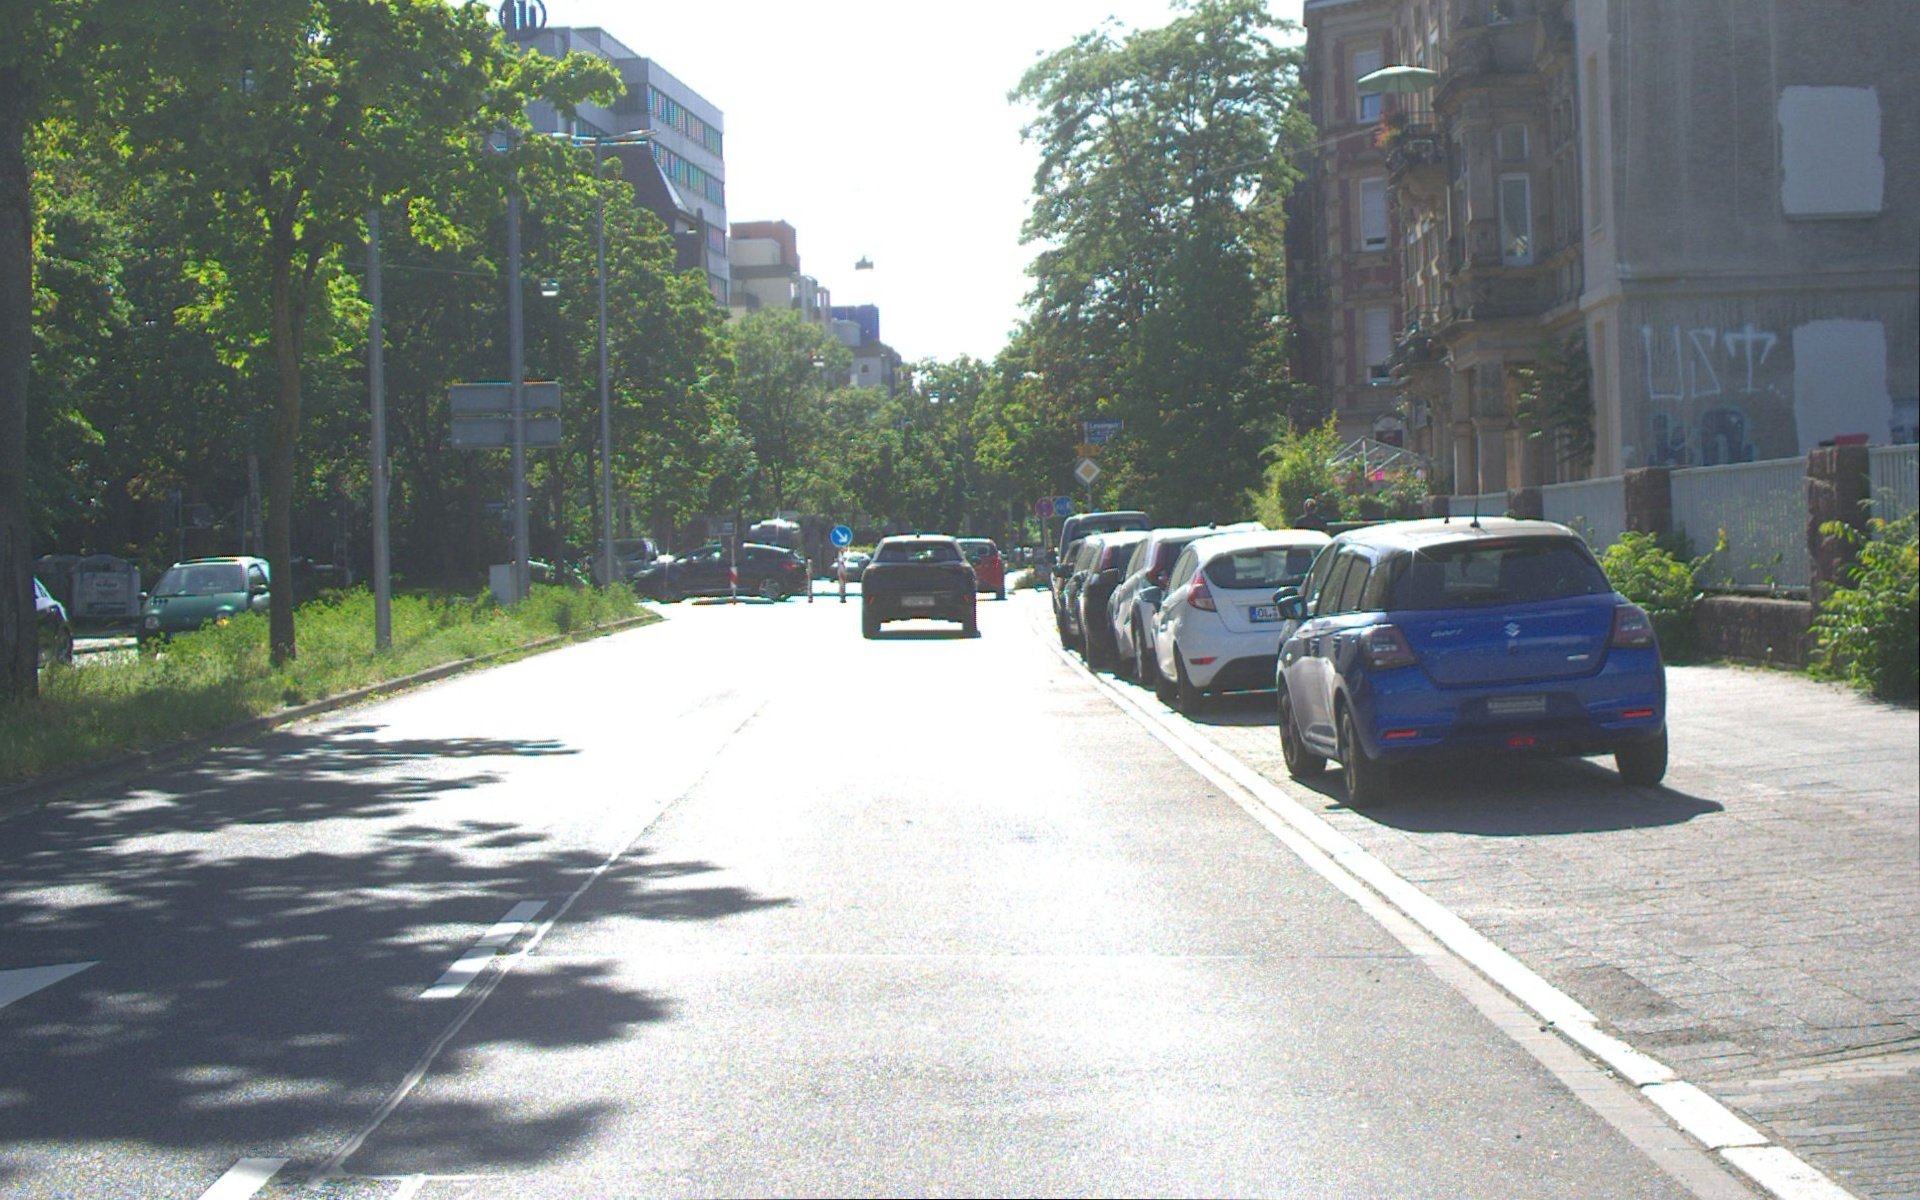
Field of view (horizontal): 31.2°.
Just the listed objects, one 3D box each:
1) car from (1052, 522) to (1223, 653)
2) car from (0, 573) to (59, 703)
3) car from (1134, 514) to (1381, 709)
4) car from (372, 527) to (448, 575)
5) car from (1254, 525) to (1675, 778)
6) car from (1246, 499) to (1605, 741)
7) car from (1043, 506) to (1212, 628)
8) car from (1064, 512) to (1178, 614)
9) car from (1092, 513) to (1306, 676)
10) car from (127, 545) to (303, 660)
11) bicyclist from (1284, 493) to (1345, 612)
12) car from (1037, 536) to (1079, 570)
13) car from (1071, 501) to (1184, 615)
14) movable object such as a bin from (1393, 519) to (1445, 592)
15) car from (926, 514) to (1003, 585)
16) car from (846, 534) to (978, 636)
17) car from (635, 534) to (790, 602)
[{"bbox_3d":[2.025,-0.181,40.087,1.668,1.389,3.775,-2,1,-1],"label":"car"},{"bbox_3d":[-12.036,0.484,40.489,1.795,1.514,4.087,-3,0,-1],"label":"car"},{"bbox_3d":[2.493,0.048,29.560,1.608,1.441,3.659,-5,2,-1],"label":"car"},{"bbox_3d":[-20.005,-1.787,124.927,1.974,1.656,4.001,-2,1,-20],"label":"car"},{"bbox_3d":[2.823,0.226,20.036,1.668,1.178,3.901,-5,2,-2],"label":"car"},{"bbox_3d":[3.232,0.082,24.616,1.668,1.455,3.987,-5,2,-4],"label":"car"},{"bbox_3d":[2.241,-0.484,46.971,1.935,1.514,4.484,-2,1,-1],"label":"car"},{"bbox_3d":[2.493,-0.609,53.585,1.668,1.463,4.274,-2,1,2],"label":"car"},{"bbox_3d":[2.380,-0.095,35.004,1.668,1.514,3.662,-2,1,-3],"label":"car"},{"bbox_3d":[-10.650,-0.002,49.402,1.638,1.514,4.259,-2,1,-1],"label":"car"},{"bbox_3d":[4.822,-0.655,46.818,0.741,1.574,1.100,-1,2,2],"label":"bicyclist"},{"bbox_3d":[4.971,-2.391,174.487,1.920,1.634,4.000,-2,1,4],"label":"car"},{"bbox_3d":[2.858,-0.759,59.214,1.819,1.837,4.364,-2,1,2],"label":"car"},{"bbox_3d":[7.506,-0.727,56.213,0.759,1.153,0.608,-1,-2,2],"label":"movable object such as a bin"},{"bbox_3d":[0.082,-1.239,82.546,1.792,1.515,3.850,-1,3,-1],"label":"car"},{"bbox_3d":[-0.781,-0.261,53.646,1.894,1.514,4.001,0,1,-3],"label":"car"},{"bbox_3d":[-6.215,-0.804,86.598,3.849,1.628,1.620,0,-2,-2],"label":"car"}]
